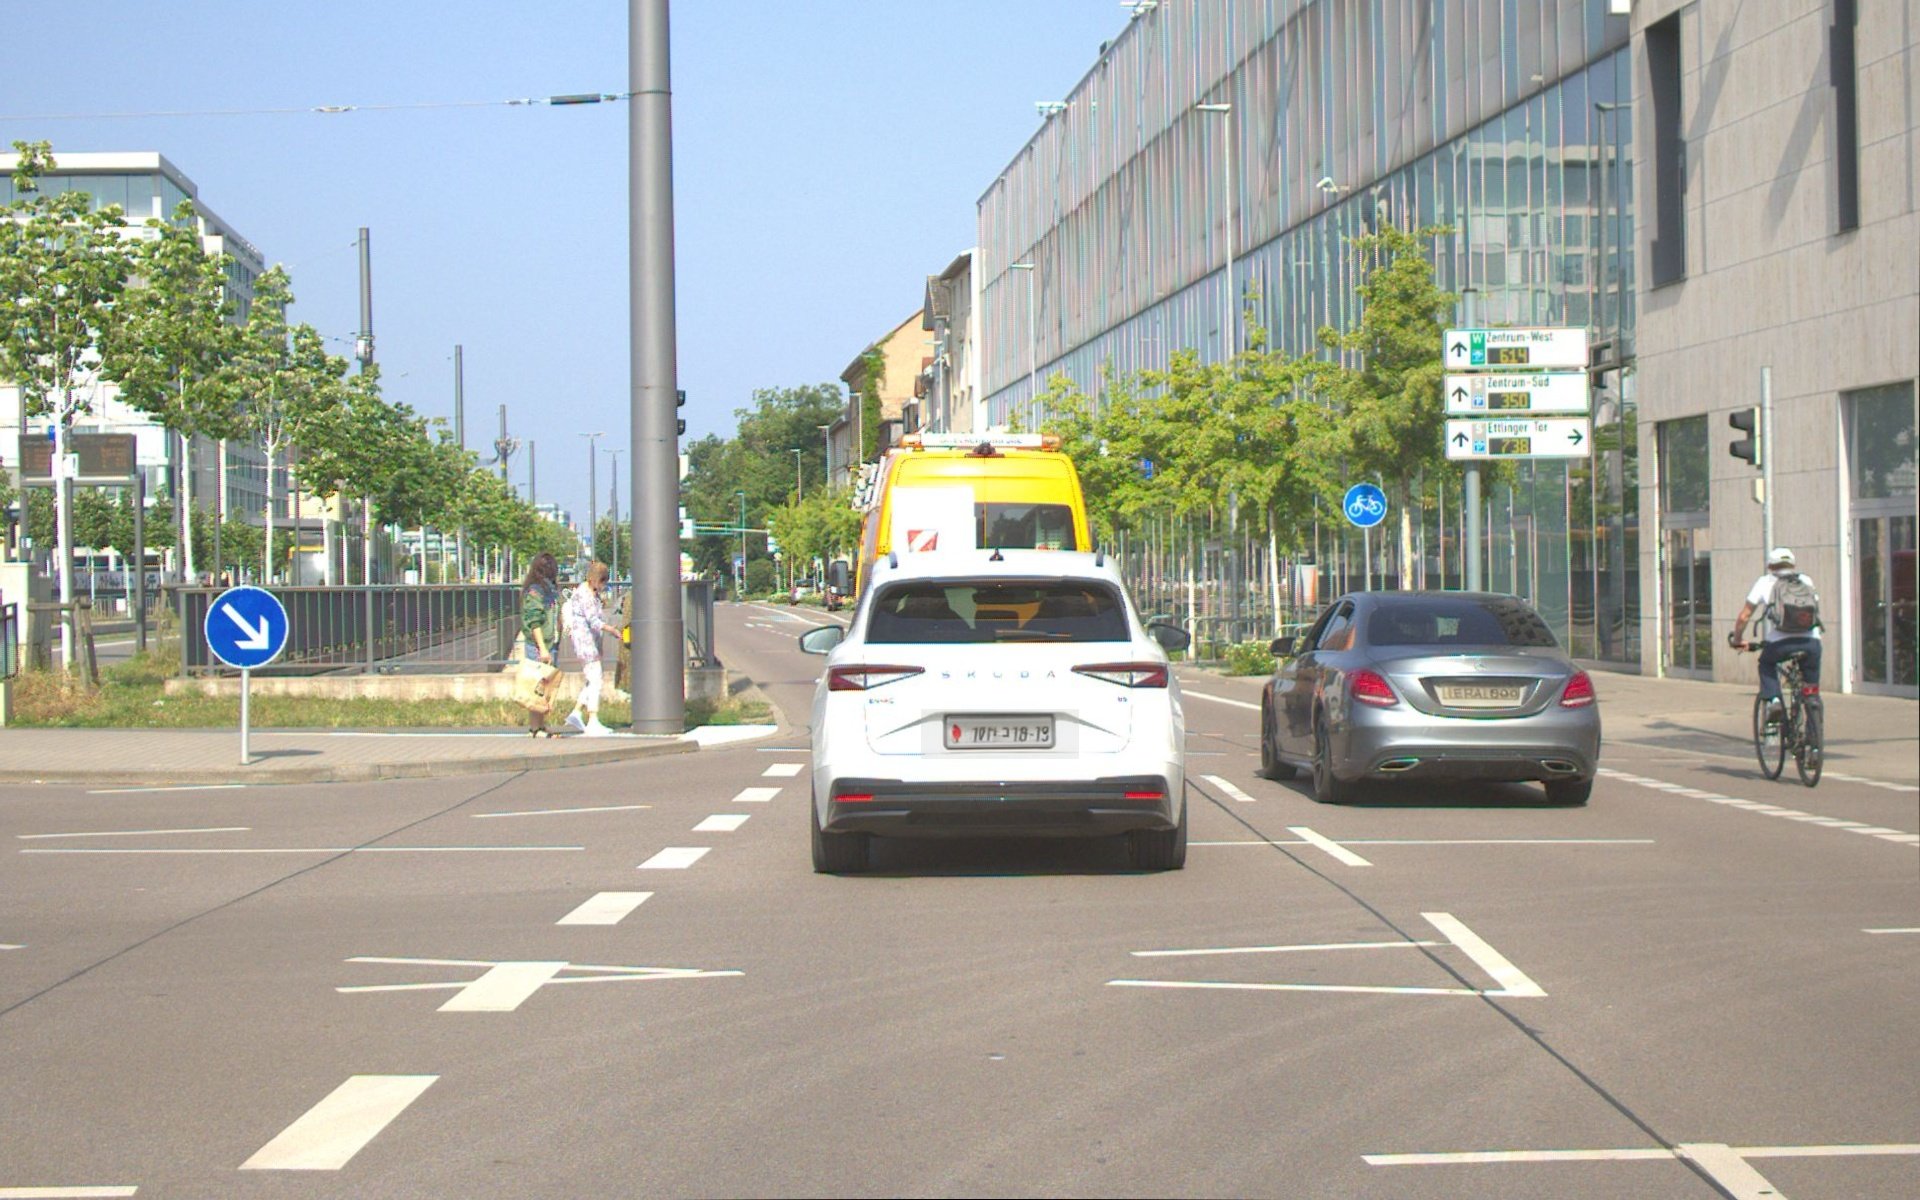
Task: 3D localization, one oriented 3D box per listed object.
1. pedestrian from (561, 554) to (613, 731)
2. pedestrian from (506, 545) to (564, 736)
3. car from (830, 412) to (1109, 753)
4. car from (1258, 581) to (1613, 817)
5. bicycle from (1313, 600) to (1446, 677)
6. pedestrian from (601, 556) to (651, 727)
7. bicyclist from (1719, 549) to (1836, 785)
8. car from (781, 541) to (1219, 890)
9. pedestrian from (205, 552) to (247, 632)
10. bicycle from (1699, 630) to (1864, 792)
[{"bbox_3d":[-3.500,0.387,32.281,0.467,1.644,0.777,0,1,-5],"label":"pedestrian"},{"bbox_3d":[-3.718,0.347,30.097,0.467,1.644,0.777,0,1,-5],"label":"pedestrian"},{"bbox_3d":[-0.018,-0.200,31.013,2.020,2.786,5.402,-1,1,-5],"label":"car"},{"bbox_3d":[3.174,0.611,23.707,1.760,1.431,4.115,1,1,-1],"label":"car"},{"bbox_3d":[6.192,0.562,50.729,1.878,1.105,0.490,-1,1,-3],"label":"bicycle"},{"bbox_3d":[-3.269,0.397,33.687,0.467,1.644,0.777,0,1,-5],"label":"pedestrian"},{"bbox_3d":[6.157,0.494,25.919,0.651,1.743,0.769,-1,1,-2],"label":"bicyclist"},{"bbox_3d":[0.084,0.504,17.734,1.869,1.569,4.001,-1,1,-5],"label":"car"},{"bbox_3d":[-14.956,-0.158,70.048,0.735,1.613,0.711,0,0,-6],"label":"pedestrian"},{"bbox_3d":[6.164,0.812,25.904,0.661,1.113,2.051,-1,1,-2],"label":"bicycle"}]
